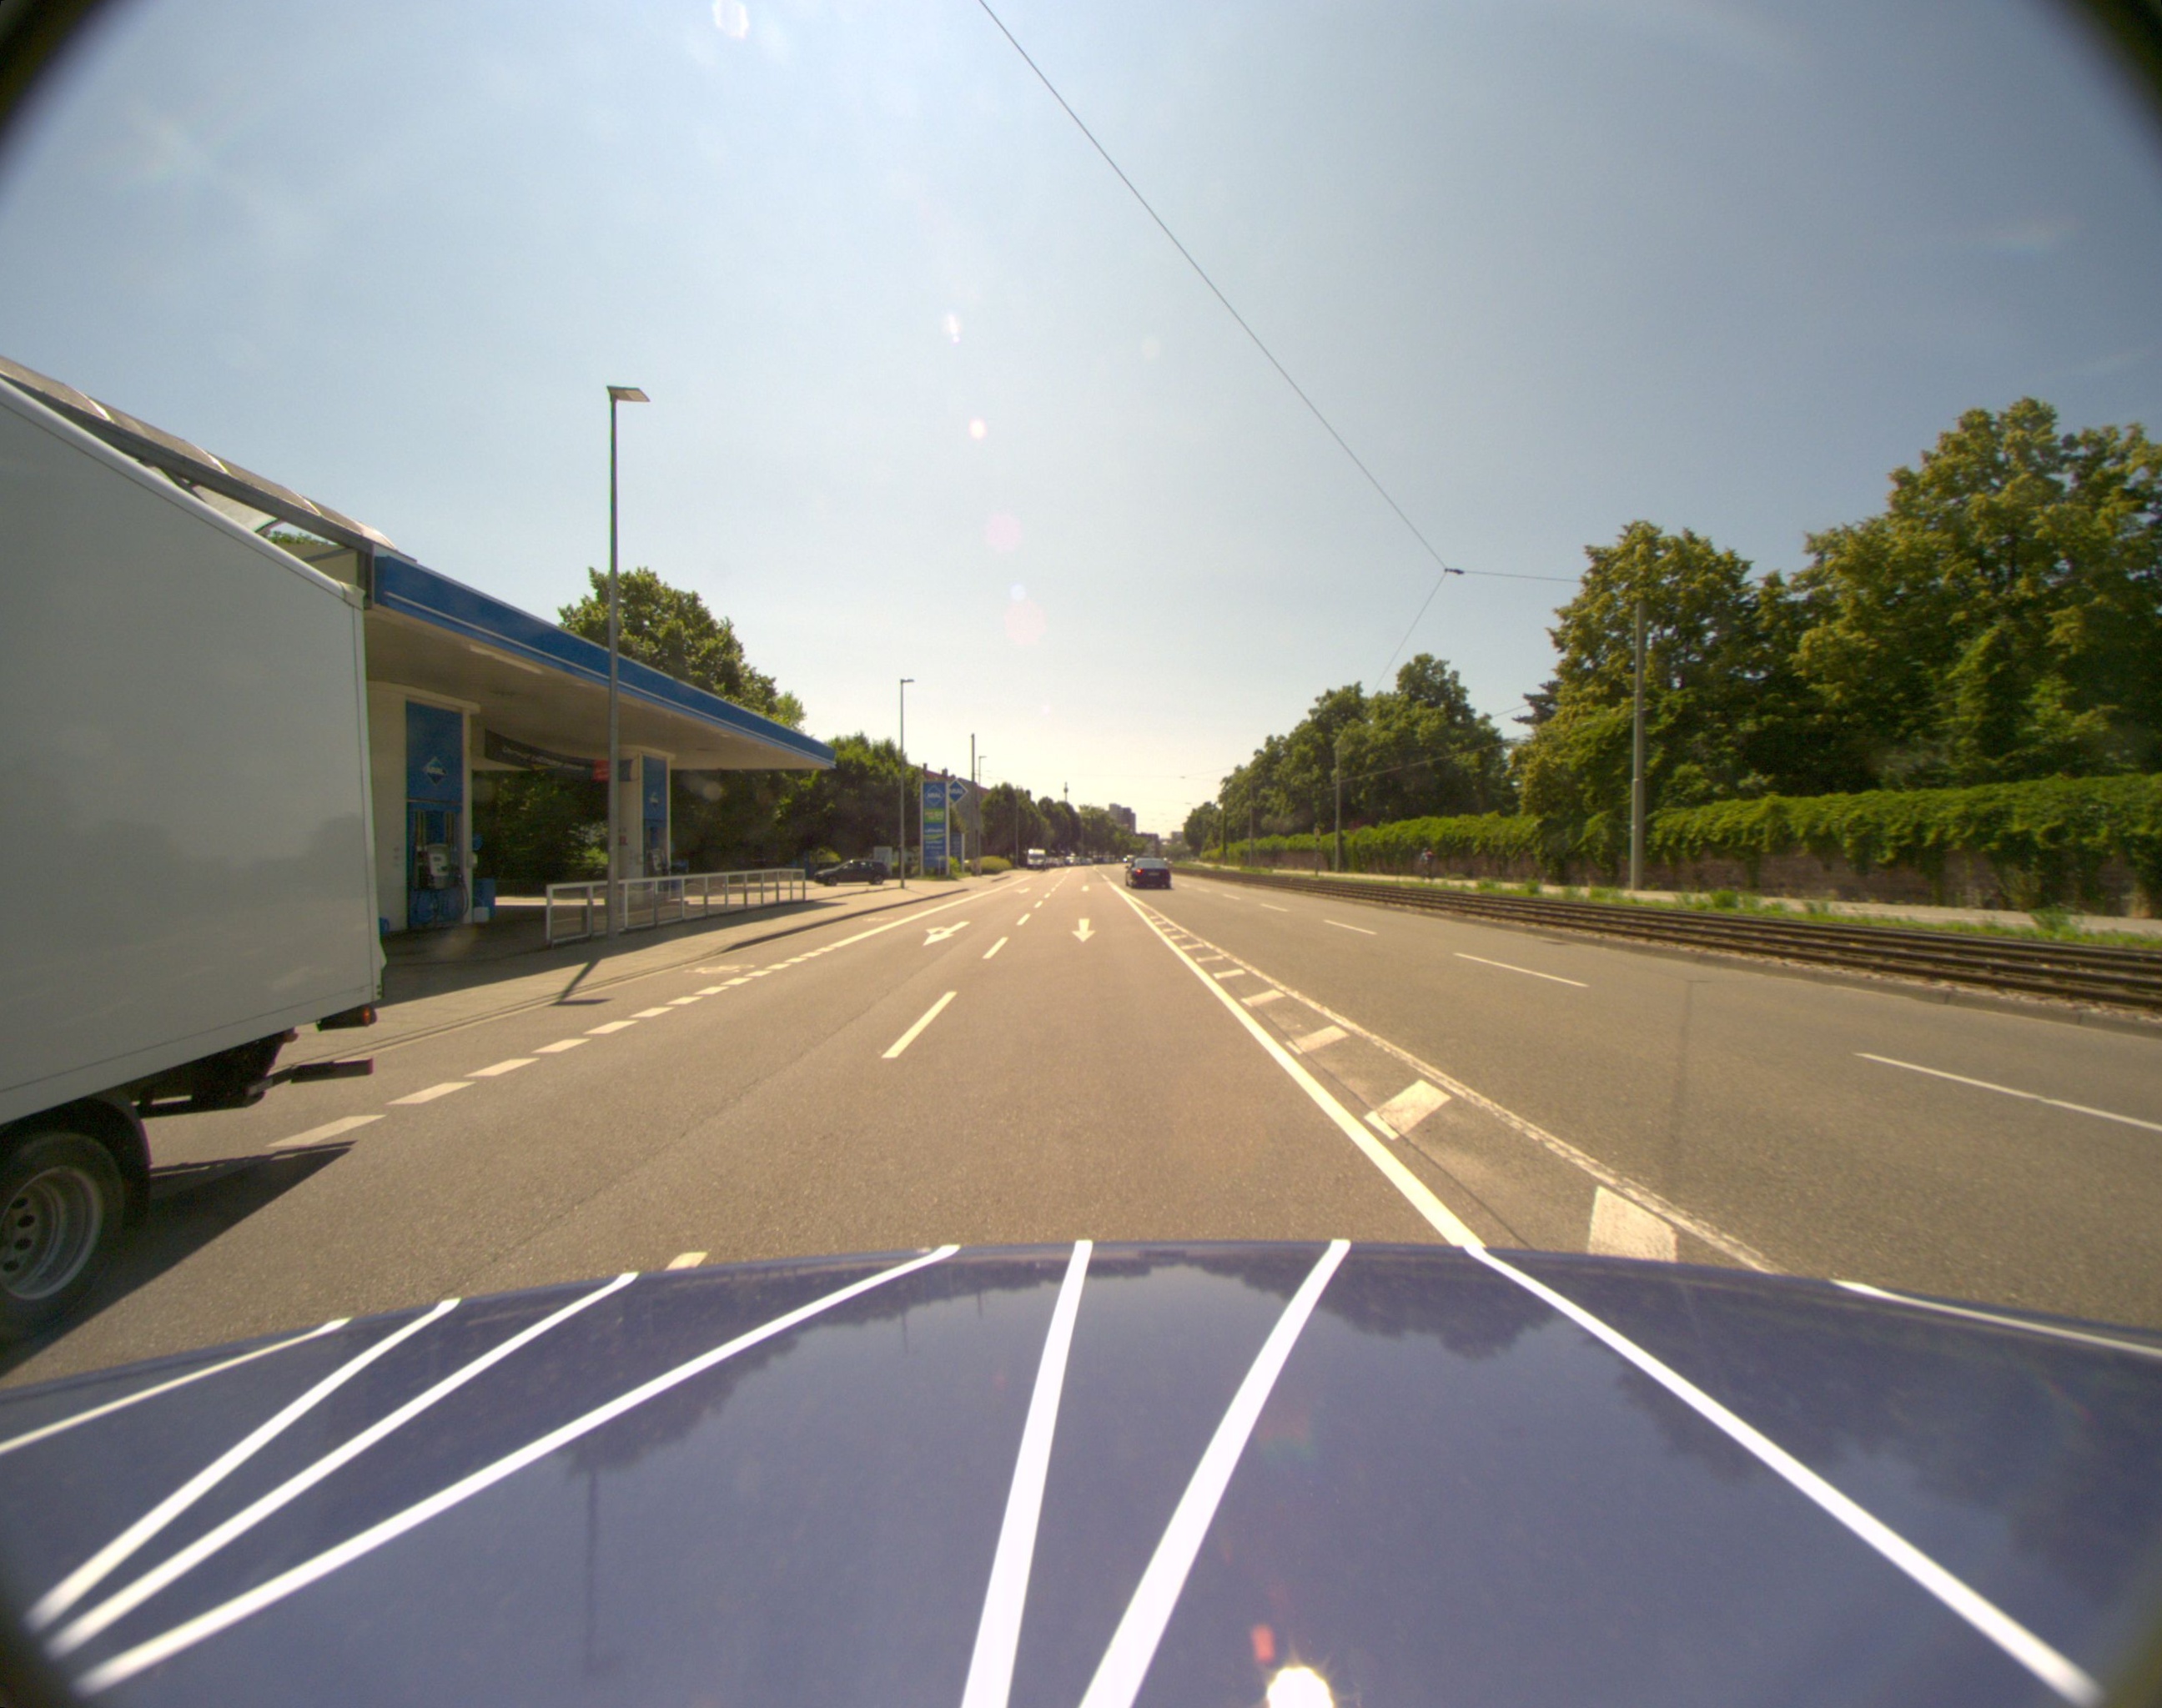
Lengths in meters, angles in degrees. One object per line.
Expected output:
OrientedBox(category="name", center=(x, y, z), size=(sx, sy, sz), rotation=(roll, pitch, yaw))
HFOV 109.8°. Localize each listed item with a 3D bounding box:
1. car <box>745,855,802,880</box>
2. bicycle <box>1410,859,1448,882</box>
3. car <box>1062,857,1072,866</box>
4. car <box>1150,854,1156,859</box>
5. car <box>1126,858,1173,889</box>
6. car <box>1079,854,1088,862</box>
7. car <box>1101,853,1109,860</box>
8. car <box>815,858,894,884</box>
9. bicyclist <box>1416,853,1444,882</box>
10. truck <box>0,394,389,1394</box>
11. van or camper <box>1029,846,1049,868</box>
OrientedBox(category="car", center=(-22.216, 0.939, 55.072), size=(1.998, 1.653, 4.411), rotation=(0, 1, 5))
OrientedBox(category="bicycle", center=(17.890, 0.839, 39.166), size=(0.830, 1.149, 2.686), rotation=(-1, 0, 3))
OrientedBox(category="car", center=(-2.556, 1.313, 139.660), size=(1.725, 1.586, 4.001), rotation=(-1, 0, 3))
OrientedBox(category="car", center=(20.780, 0.768, 219.077), size=(1.695, 1.460, 4.003), rotation=(0, 0, 9))
OrientedBox(category="car", center=(3.274, 0.902, 37.037), size=(1.798, 1.391, 4.447), rotation=(-1, 0, -2))
OrientedBox(category="car", center=(0.543, 0.835, 159.680), size=(1.807, 1.585, 4.000), rotation=(-1, 0, 1))
OrientedBox(category="car", center=(5.935, 0.606, 190.588), size=(1.998, 1.718, 4.000), rotation=(-1, 0, 1))
OrientedBox(category="car", center=(-13.074, 0.958, 43.887), size=(4.147, 1.413, 1.715), rotation=(-1, 0, -26))
OrientedBox(category="bicyclist", center=(17.887, 0.687, 39.009), size=(0.997, 1.477, 1.000), rotation=(-1, 0, 2))
OrientedBox(category="truck", center=(-4.298, 0.128, 0.777), size=(2.430, 3.371, 7.820), rotation=(-1, 0, -20))
OrientedBox(category="van or camper", center=(-4.982, 0.328, 91.005), size=(2.126, 2.469, 5.993), rotation=(2, 0, -1))
